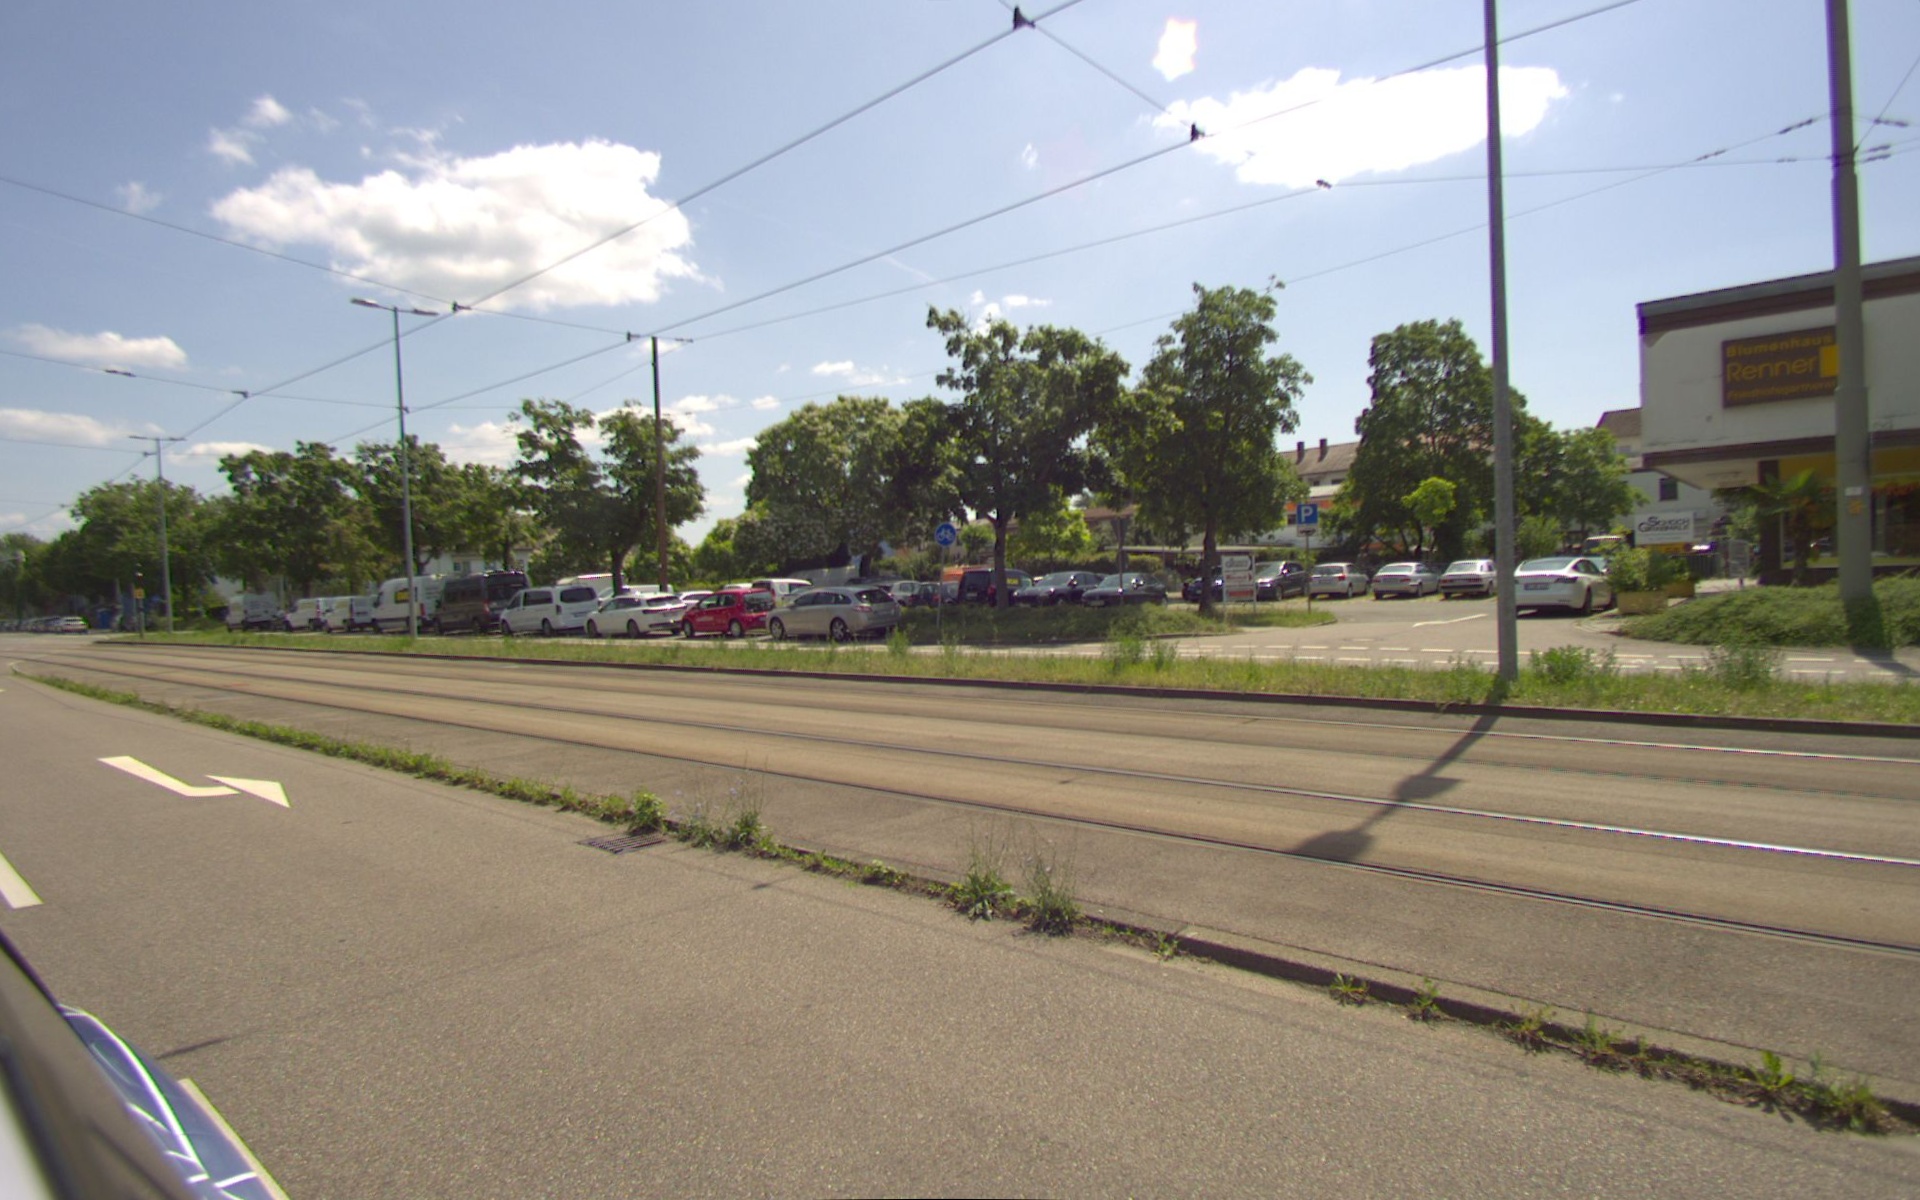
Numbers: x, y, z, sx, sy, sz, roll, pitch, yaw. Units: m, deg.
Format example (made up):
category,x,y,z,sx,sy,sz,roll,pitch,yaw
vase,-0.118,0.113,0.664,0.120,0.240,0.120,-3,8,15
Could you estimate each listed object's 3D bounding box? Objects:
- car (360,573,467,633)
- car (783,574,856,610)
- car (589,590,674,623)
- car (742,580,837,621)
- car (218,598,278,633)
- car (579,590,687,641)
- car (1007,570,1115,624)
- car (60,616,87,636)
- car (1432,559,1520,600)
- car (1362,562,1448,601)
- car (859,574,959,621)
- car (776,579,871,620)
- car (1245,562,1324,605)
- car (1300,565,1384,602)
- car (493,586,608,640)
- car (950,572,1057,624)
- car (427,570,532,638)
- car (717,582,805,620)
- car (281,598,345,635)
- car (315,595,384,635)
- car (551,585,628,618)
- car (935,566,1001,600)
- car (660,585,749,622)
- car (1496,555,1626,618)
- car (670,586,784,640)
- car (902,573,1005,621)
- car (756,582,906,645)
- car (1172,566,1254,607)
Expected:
category,x,y,z,sx,sy,sz,roll,pitch,yaw
car,-26.549,0.149,49.008,6.700,2.630,2.129,-1,3,40
car,-8.969,-0.497,64.946,1.849,2.241,4.595,-1,0,38
car,-18.202,0.319,56.132,1.803,1.749,4.145,-1,0,41
car,-7.858,-0.003,46.865,1.902,1.749,3.945,-2,1,41
car,-47.390,1.052,67.363,4.485,2.116,2.046,-1,3,39
car,-11.317,0.515,34.872,4.358,1.551,1.483,-1,3,42
car,3.615,-0.123,35.799,1.802,1.749,3.945,-2,1,41
car,-76.911,2.220,87.765,1.658,1.702,3.549,-1,0,-43
car,19.607,-0.805,38.393,1.907,1.412,3.943,-2,1,43
car,17.795,-0.760,40.396,1.907,1.412,3.943,-2,1,43
car,-2.033,-0.139,41.162,1.802,1.749,3.945,-2,1,41
car,-6.029,-0.029,44.964,1.803,1.749,3.945,-1,0,41
car,14.179,-0.701,44.103,1.721,1.749,3.942,-1,0,44
car,16.086,-0.716,42.540,1.907,1.412,3.943,-2,1,43
car,-16.056,0.509,39.580,4.886,1.851,2.129,-1,3,41
car,1.656,-0.092,37.688,1.878,1.749,3.945,-2,1,41
car,-20.652,0.166,43.405,5.031,2.630,2.129,-1,3,41
car,-9.601,0.054,49.011,1.803,1.749,3.945,-1,0,41
car,-37.851,0.946,59.154,4.485,1.953,1.773,-1,3,39
car,-33.063,0.818,54.771,4.647,1.953,1.772,-1,3,41
car,-30.929,0.092,84.604,2.257,2.500,5.629,-2,1,38
car,0.480,-0.924,55.712,1.759,1.749,3.699,-1,0,38
car,-12.594,0.135,50.031,1.803,1.749,3.945,-1,0,41
car,15.352,-0.372,25.745,1.907,1.445,4.425,-2,1,43
car,-7.416,0.417,32.120,3.644,1.551,1.485,-1,3,38
car,-0.197,-0.130,39.121,1.803,1.749,3.945,-1,0,41
car,-3.720,0.367,28.671,4.550,1.551,1.560,-1,3,42
car,11.295,-0.580,45.058,1.804,1.749,3.942,-1,0,44
